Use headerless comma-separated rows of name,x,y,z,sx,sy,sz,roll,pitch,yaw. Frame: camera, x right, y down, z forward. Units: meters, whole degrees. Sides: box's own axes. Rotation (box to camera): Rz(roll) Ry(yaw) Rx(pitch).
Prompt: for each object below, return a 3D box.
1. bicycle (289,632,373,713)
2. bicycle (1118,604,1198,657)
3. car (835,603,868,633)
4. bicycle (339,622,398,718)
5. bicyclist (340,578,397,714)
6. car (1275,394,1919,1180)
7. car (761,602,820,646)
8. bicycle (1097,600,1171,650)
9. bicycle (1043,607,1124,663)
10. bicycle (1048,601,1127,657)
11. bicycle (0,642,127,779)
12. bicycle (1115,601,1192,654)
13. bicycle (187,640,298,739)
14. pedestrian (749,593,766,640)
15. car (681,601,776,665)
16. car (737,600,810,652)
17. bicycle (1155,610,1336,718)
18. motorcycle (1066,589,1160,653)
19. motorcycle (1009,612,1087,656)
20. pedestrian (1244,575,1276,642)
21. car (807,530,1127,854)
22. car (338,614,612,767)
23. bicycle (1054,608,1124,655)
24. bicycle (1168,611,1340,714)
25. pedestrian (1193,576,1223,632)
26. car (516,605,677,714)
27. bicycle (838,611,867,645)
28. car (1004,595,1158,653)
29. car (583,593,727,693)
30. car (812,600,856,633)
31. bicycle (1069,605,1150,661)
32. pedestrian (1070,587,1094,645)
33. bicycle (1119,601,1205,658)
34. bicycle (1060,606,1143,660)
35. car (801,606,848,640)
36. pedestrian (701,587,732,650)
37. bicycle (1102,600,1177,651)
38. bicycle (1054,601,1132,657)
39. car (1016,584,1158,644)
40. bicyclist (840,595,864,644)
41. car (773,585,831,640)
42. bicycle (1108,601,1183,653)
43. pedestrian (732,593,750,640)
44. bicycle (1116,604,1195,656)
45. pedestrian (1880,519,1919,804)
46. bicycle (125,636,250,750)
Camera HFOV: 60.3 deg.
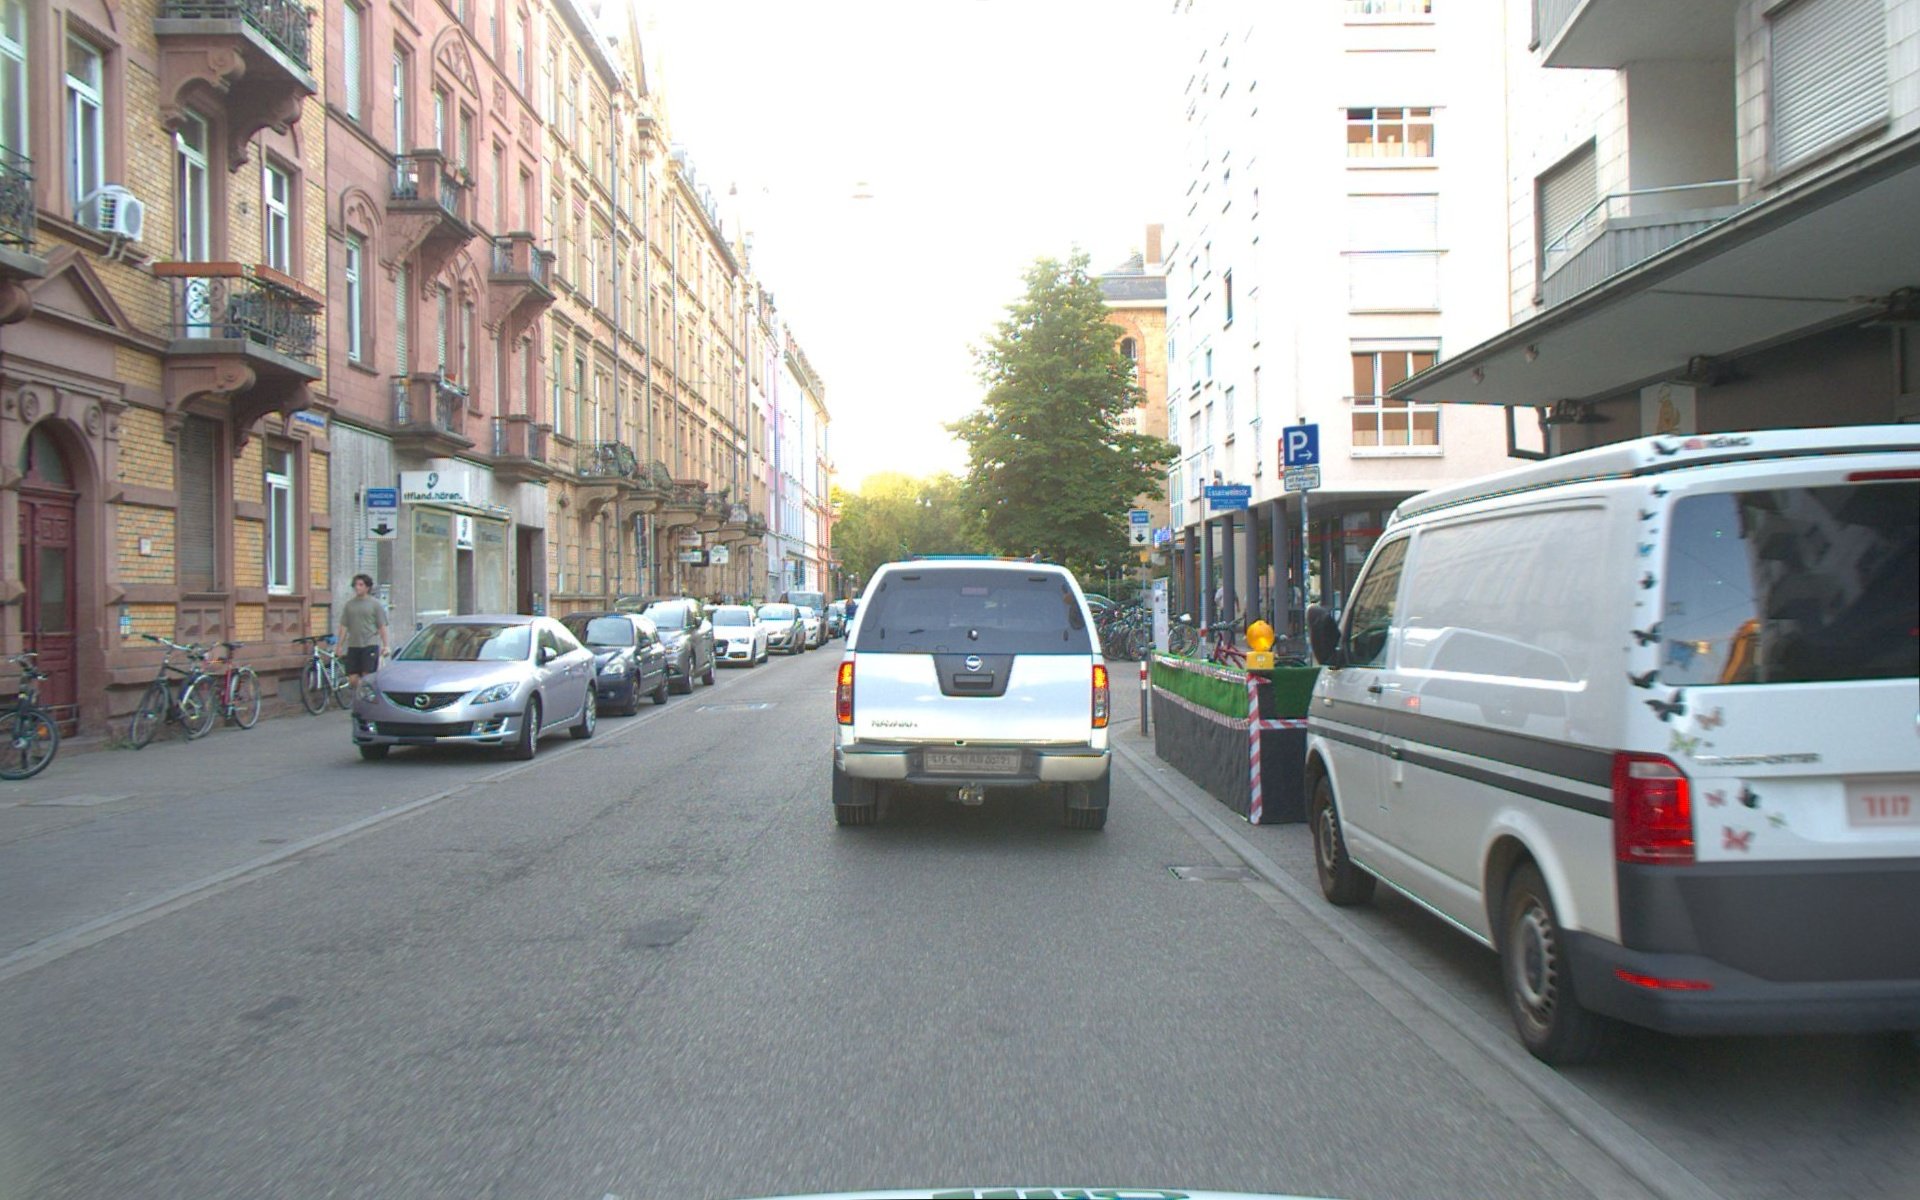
bicycle,-8.812,0.993,23.222,0.440,1.040,1.848,2,0,0
bicycle,4.410,0.680,36.947,1.686,1.072,0.654,-3,-1,2
car,-6.343,1.052,96.922,1.808,1.688,4.249,-1,0,-4
bicycle,-7.845,0.906,21.936,0.697,1.217,1.731,0,-1,-20
bicyclist,-7.852,0.605,21.971,0.697,1.760,0.838,0,-2,-20
car,2.786,0.441,6.807,1.919,2.008,5.002,-3,0,0
car,-5.850,0.804,57.575,1.748,1.447,4.483,1,0,-2
bicycle,4.329,0.624,41.150,1.688,1.137,0.653,-3,-1,-4
bicycle,2.767,0.784,37.180,1.688,1.137,0.706,-3,-1,-3
bicycle,3.153,0.718,40.982,1.830,1.202,0.743,-5,-1,4
bicycle,-8.365,0.983,15.231,0.724,1.143,1.608,0,0,-7
bicycle,4.523,0.640,38.779,1.686,1.137,0.654,-3,-1,2
bicycle,-8.571,1.045,19.817,0.537,1.055,1.759,2,0,0
pedestrian,-8.011,0.647,65.405,0.593,1.803,0.776,2,0,-5
car,-5.559,0.757,40.117,1.722,1.436,4.508,0,0,-1
car,-5.574,0.757,49.801,1.681,1.483,4.000,1,0,0
bicycle,3.267,0.745,19.021,1.906,1.154,0.655,-4,-1,37
motorcycle,4.161,0.566,45.148,2.440,1.576,0.824,-3,-1,2
motorcycle,2.450,0.950,46.020,2.025,1.097,0.661,-3,-1,-17
pedestrian,8.023,0.221,44.246,0.649,1.753,0.662,-1,1,26
car,0.187,0.564,12.378,1.871,1.885,5.272,1,-1,3
car,-5.107,0.887,18.065,1.687,1.445,4.581,0,0,-1
bicycle,3.285,0.795,42.353,1.684,1.049,0.667,-5,-1,2
bicycle,3.530,0.763,19.967,1.906,1.154,0.655,-4,-1,37
pedestrian,8.026,0.133,53.516,0.712,1.746,0.963,-3,-1,-1
car,-5.271,0.818,24.394,1.552,1.445,3.696,0,0,0
bicycle,-3.704,0.960,57.081,0.631,1.100,2.170,-3,0,5
car,3.648,0.726,50.146,4.339,1.480,1.777,-3,0,-7
car,-5.397,0.712,29.785,1.815,1.662,4.445,0,0,-1
car,-6.125,0.795,80.772,1.797,1.483,4.206,2,0,-1
bicycle,3.268,0.719,36.328,1.686,1.137,0.707,-3,-1,2
pedestrian,3.789,0.503,51.383,0.614,1.784,0.586,0,-2,-12
bicycle,4.385,0.637,35.922,1.693,1.151,0.577,-3,-1,-13
bicycle,3.237,0.747,37.977,1.773,1.137,0.706,-3,-1,-3
car,-5.854,0.997,71.960,1.701,1.443,4.777,1,-1,-1
pedestrian,-7.049,0.541,47.912,0.542,1.786,1.023,-1,-1,14
bicycle,4.389,0.628,40.429,1.688,1.137,0.653,-3,-1,-4
bicycle,3.228,0.700,40.141,1.751,1.202,0.734,-5,-1,10
car,4.017,0.439,52.918,4.310,1.676,1.746,-3,0,-1
bicyclist,-3.720,0.659,57.089,0.631,1.649,0.919,-3,0,5
car,-5.980,0.464,63.005,1.953,1.957,4.948,1,0,-3
bicycle,4.413,0.646,39.347,1.686,1.137,0.654,-3,-1,2
pedestrian,-8.623,0.637,65.165,0.568,1.802,0.997,2,0,-5
bicycle,4.437,0.686,37.619,1.686,1.072,0.654,-3,-1,2
pedestrian,6.060,0.354,9.815,0.694,1.695,0.744,-2,-1,-1
bicycle,-8.565,1.010,18.415,0.537,1.143,1.759,2,0,0
